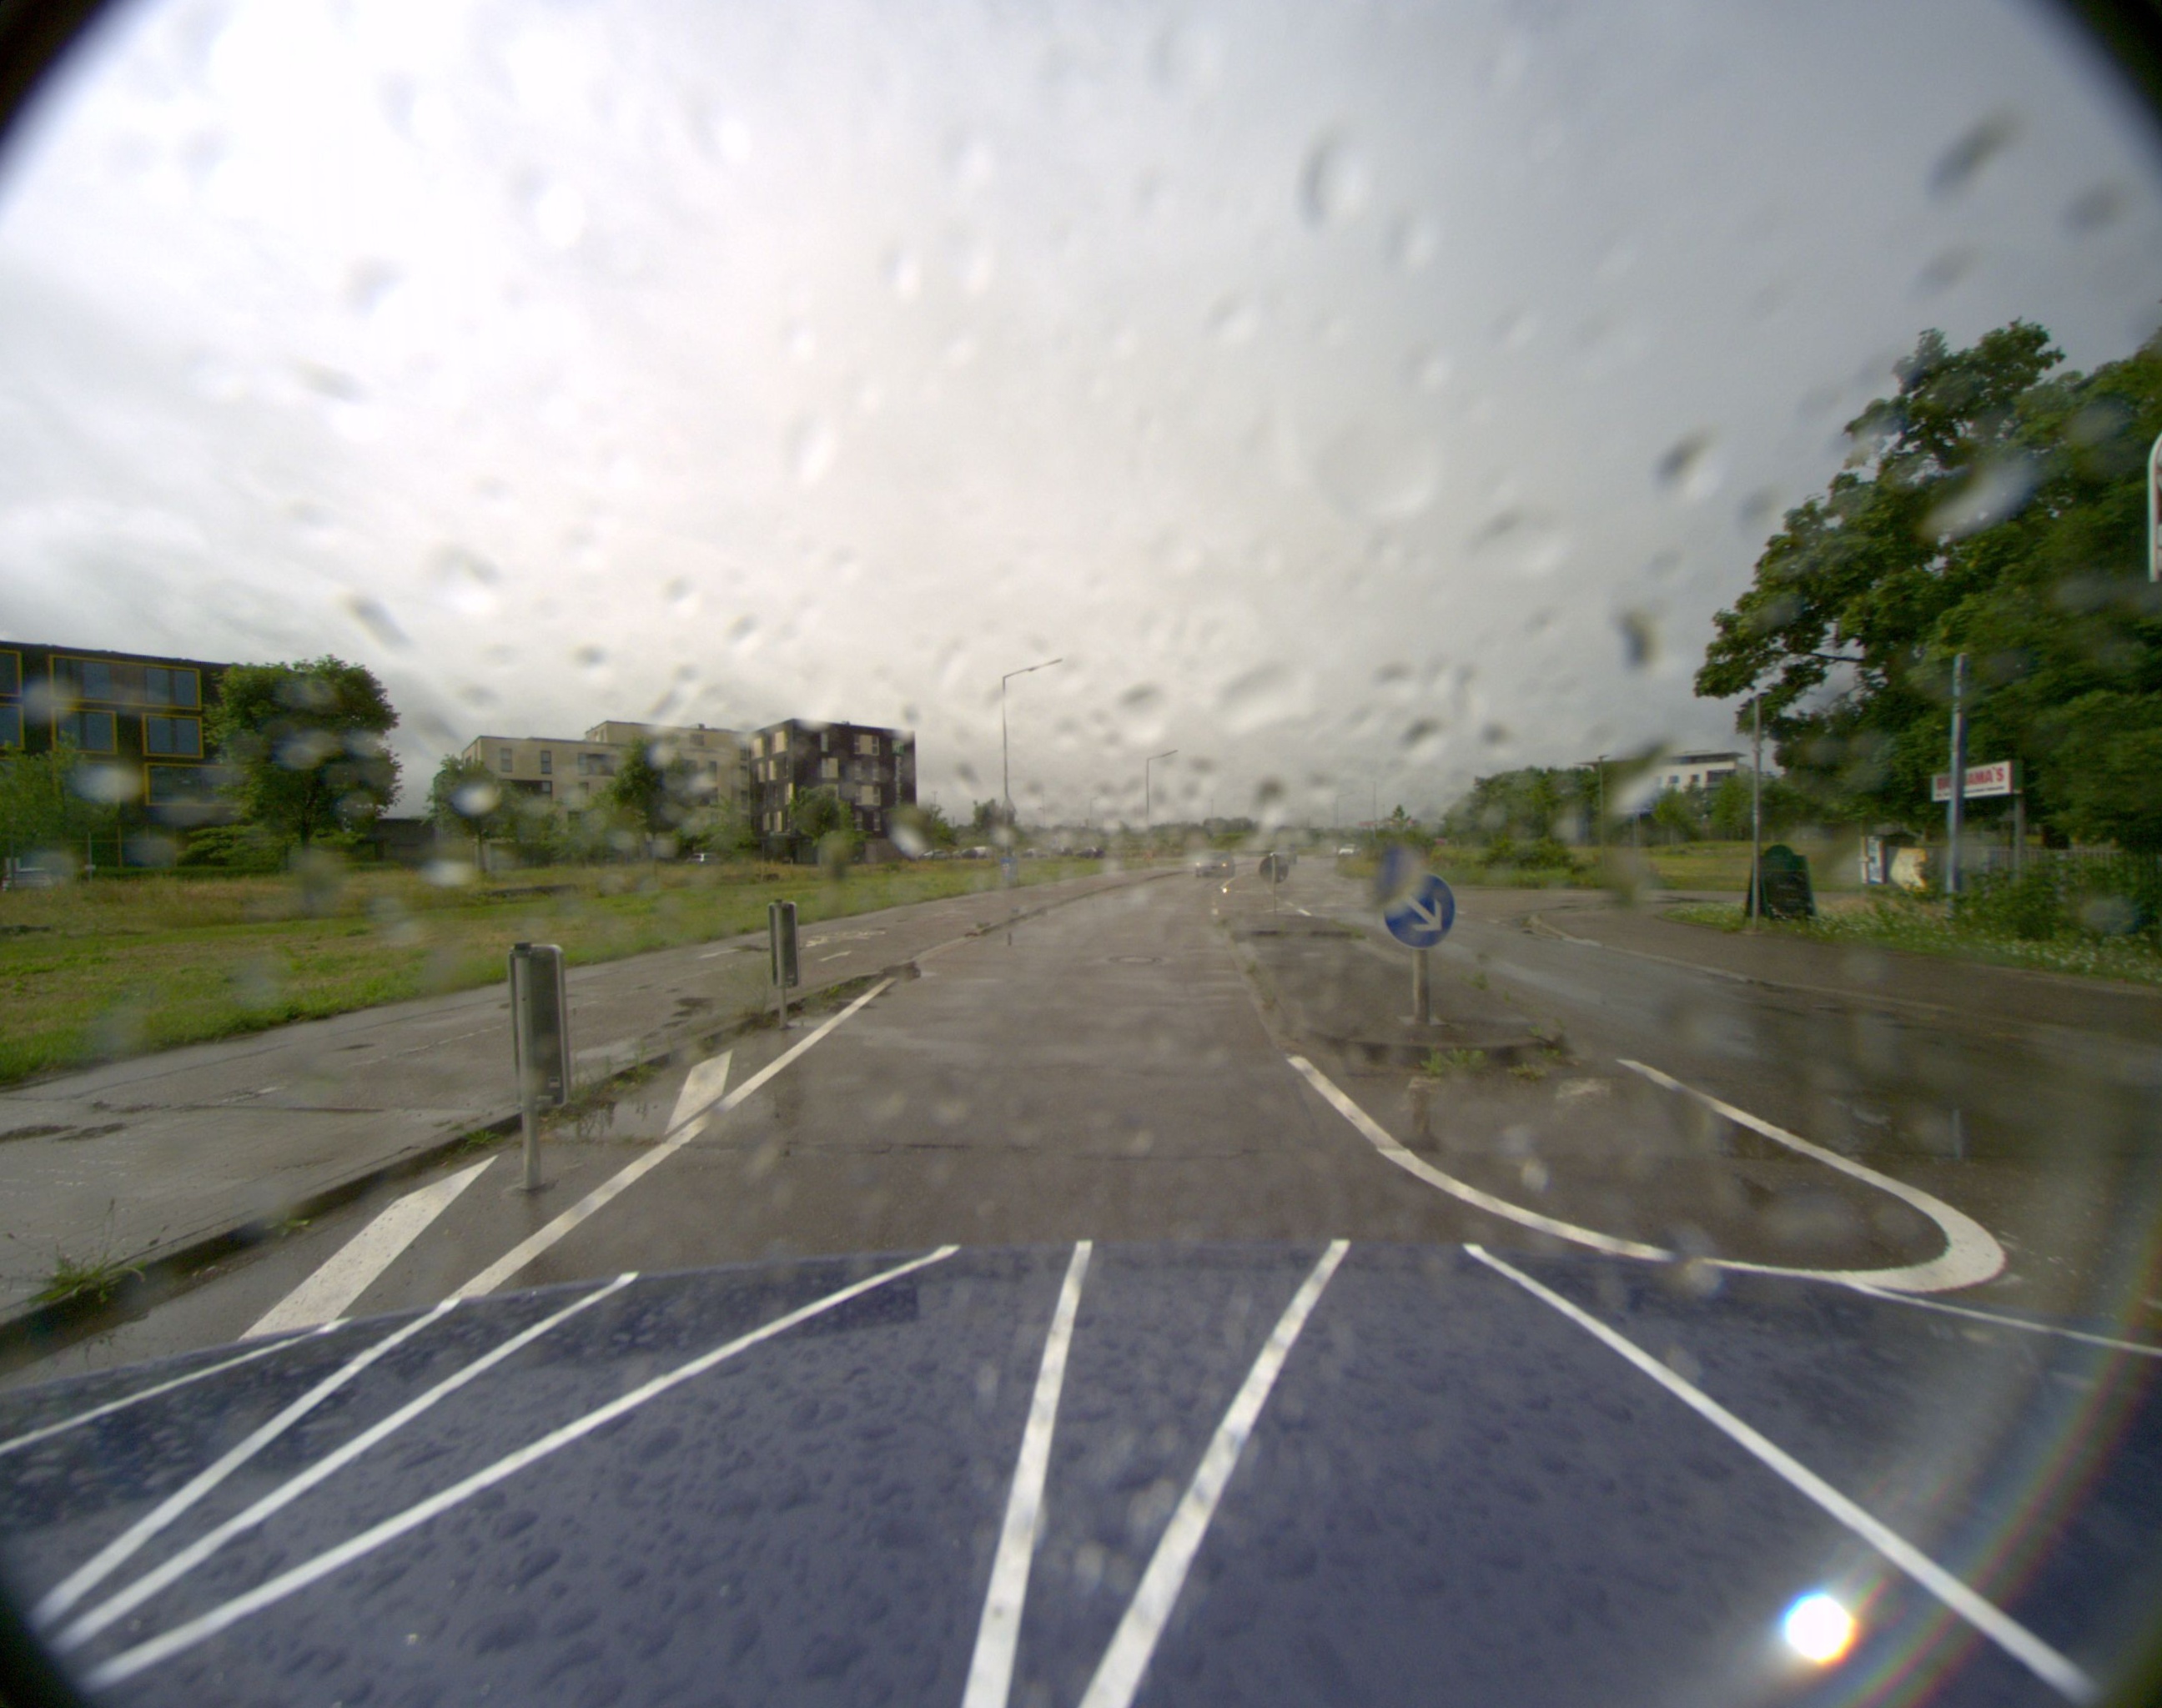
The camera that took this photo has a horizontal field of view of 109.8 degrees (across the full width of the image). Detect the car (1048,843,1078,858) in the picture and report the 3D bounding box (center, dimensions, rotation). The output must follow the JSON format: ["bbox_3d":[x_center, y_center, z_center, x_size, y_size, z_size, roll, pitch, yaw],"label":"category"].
[{"bbox_3d":[-2.525,-0.436,106.715,2.004,2.002,3.989,-2,1,-45],"label":"car"}]

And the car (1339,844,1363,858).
[{"bbox_3d":[34.694,-0.409,97.448,1.793,1.624,3.826,-1,1,37],"label":"car"}]

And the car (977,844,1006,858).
[{"bbox_3d":[-13.968,-0.482,118.339,4.007,2.002,1.994,-2,1,-40],"label":"car"}]

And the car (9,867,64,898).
[{"bbox_3d":[-58.427,1.565,42.542,3.658,1.574,1.652,-1,1,38],"label":"car"}]

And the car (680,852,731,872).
[{"bbox_3d":[-32.844,0.702,66.583,1.644,1.574,3.674,-1,1,27],"label":"car"}]

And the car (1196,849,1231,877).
[{"bbox_3d":[7.449,0.460,42.498,1.722,1.423,3.821,-1,1,12],"label":"car"}]

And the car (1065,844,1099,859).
[{"bbox_3d":[0.125,-0.248,89.338,3.807,1.624,1.802,-1,1,43],"label":"car"}]

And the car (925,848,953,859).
[{"bbox_3d":[-20.458,-0.075,109.629,3.656,1.602,1.596,-2,1,-37],"label":"car"}]

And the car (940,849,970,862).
[{"bbox_3d":[-17.076,0.262,103.126,3.656,1.652,1.646,-2,1,-33],"label":"car"}]

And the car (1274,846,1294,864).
[{"bbox_3d":[19.435,0.072,72.604,1.645,1.624,3.673,-1,1,19],"label":"car"}]
